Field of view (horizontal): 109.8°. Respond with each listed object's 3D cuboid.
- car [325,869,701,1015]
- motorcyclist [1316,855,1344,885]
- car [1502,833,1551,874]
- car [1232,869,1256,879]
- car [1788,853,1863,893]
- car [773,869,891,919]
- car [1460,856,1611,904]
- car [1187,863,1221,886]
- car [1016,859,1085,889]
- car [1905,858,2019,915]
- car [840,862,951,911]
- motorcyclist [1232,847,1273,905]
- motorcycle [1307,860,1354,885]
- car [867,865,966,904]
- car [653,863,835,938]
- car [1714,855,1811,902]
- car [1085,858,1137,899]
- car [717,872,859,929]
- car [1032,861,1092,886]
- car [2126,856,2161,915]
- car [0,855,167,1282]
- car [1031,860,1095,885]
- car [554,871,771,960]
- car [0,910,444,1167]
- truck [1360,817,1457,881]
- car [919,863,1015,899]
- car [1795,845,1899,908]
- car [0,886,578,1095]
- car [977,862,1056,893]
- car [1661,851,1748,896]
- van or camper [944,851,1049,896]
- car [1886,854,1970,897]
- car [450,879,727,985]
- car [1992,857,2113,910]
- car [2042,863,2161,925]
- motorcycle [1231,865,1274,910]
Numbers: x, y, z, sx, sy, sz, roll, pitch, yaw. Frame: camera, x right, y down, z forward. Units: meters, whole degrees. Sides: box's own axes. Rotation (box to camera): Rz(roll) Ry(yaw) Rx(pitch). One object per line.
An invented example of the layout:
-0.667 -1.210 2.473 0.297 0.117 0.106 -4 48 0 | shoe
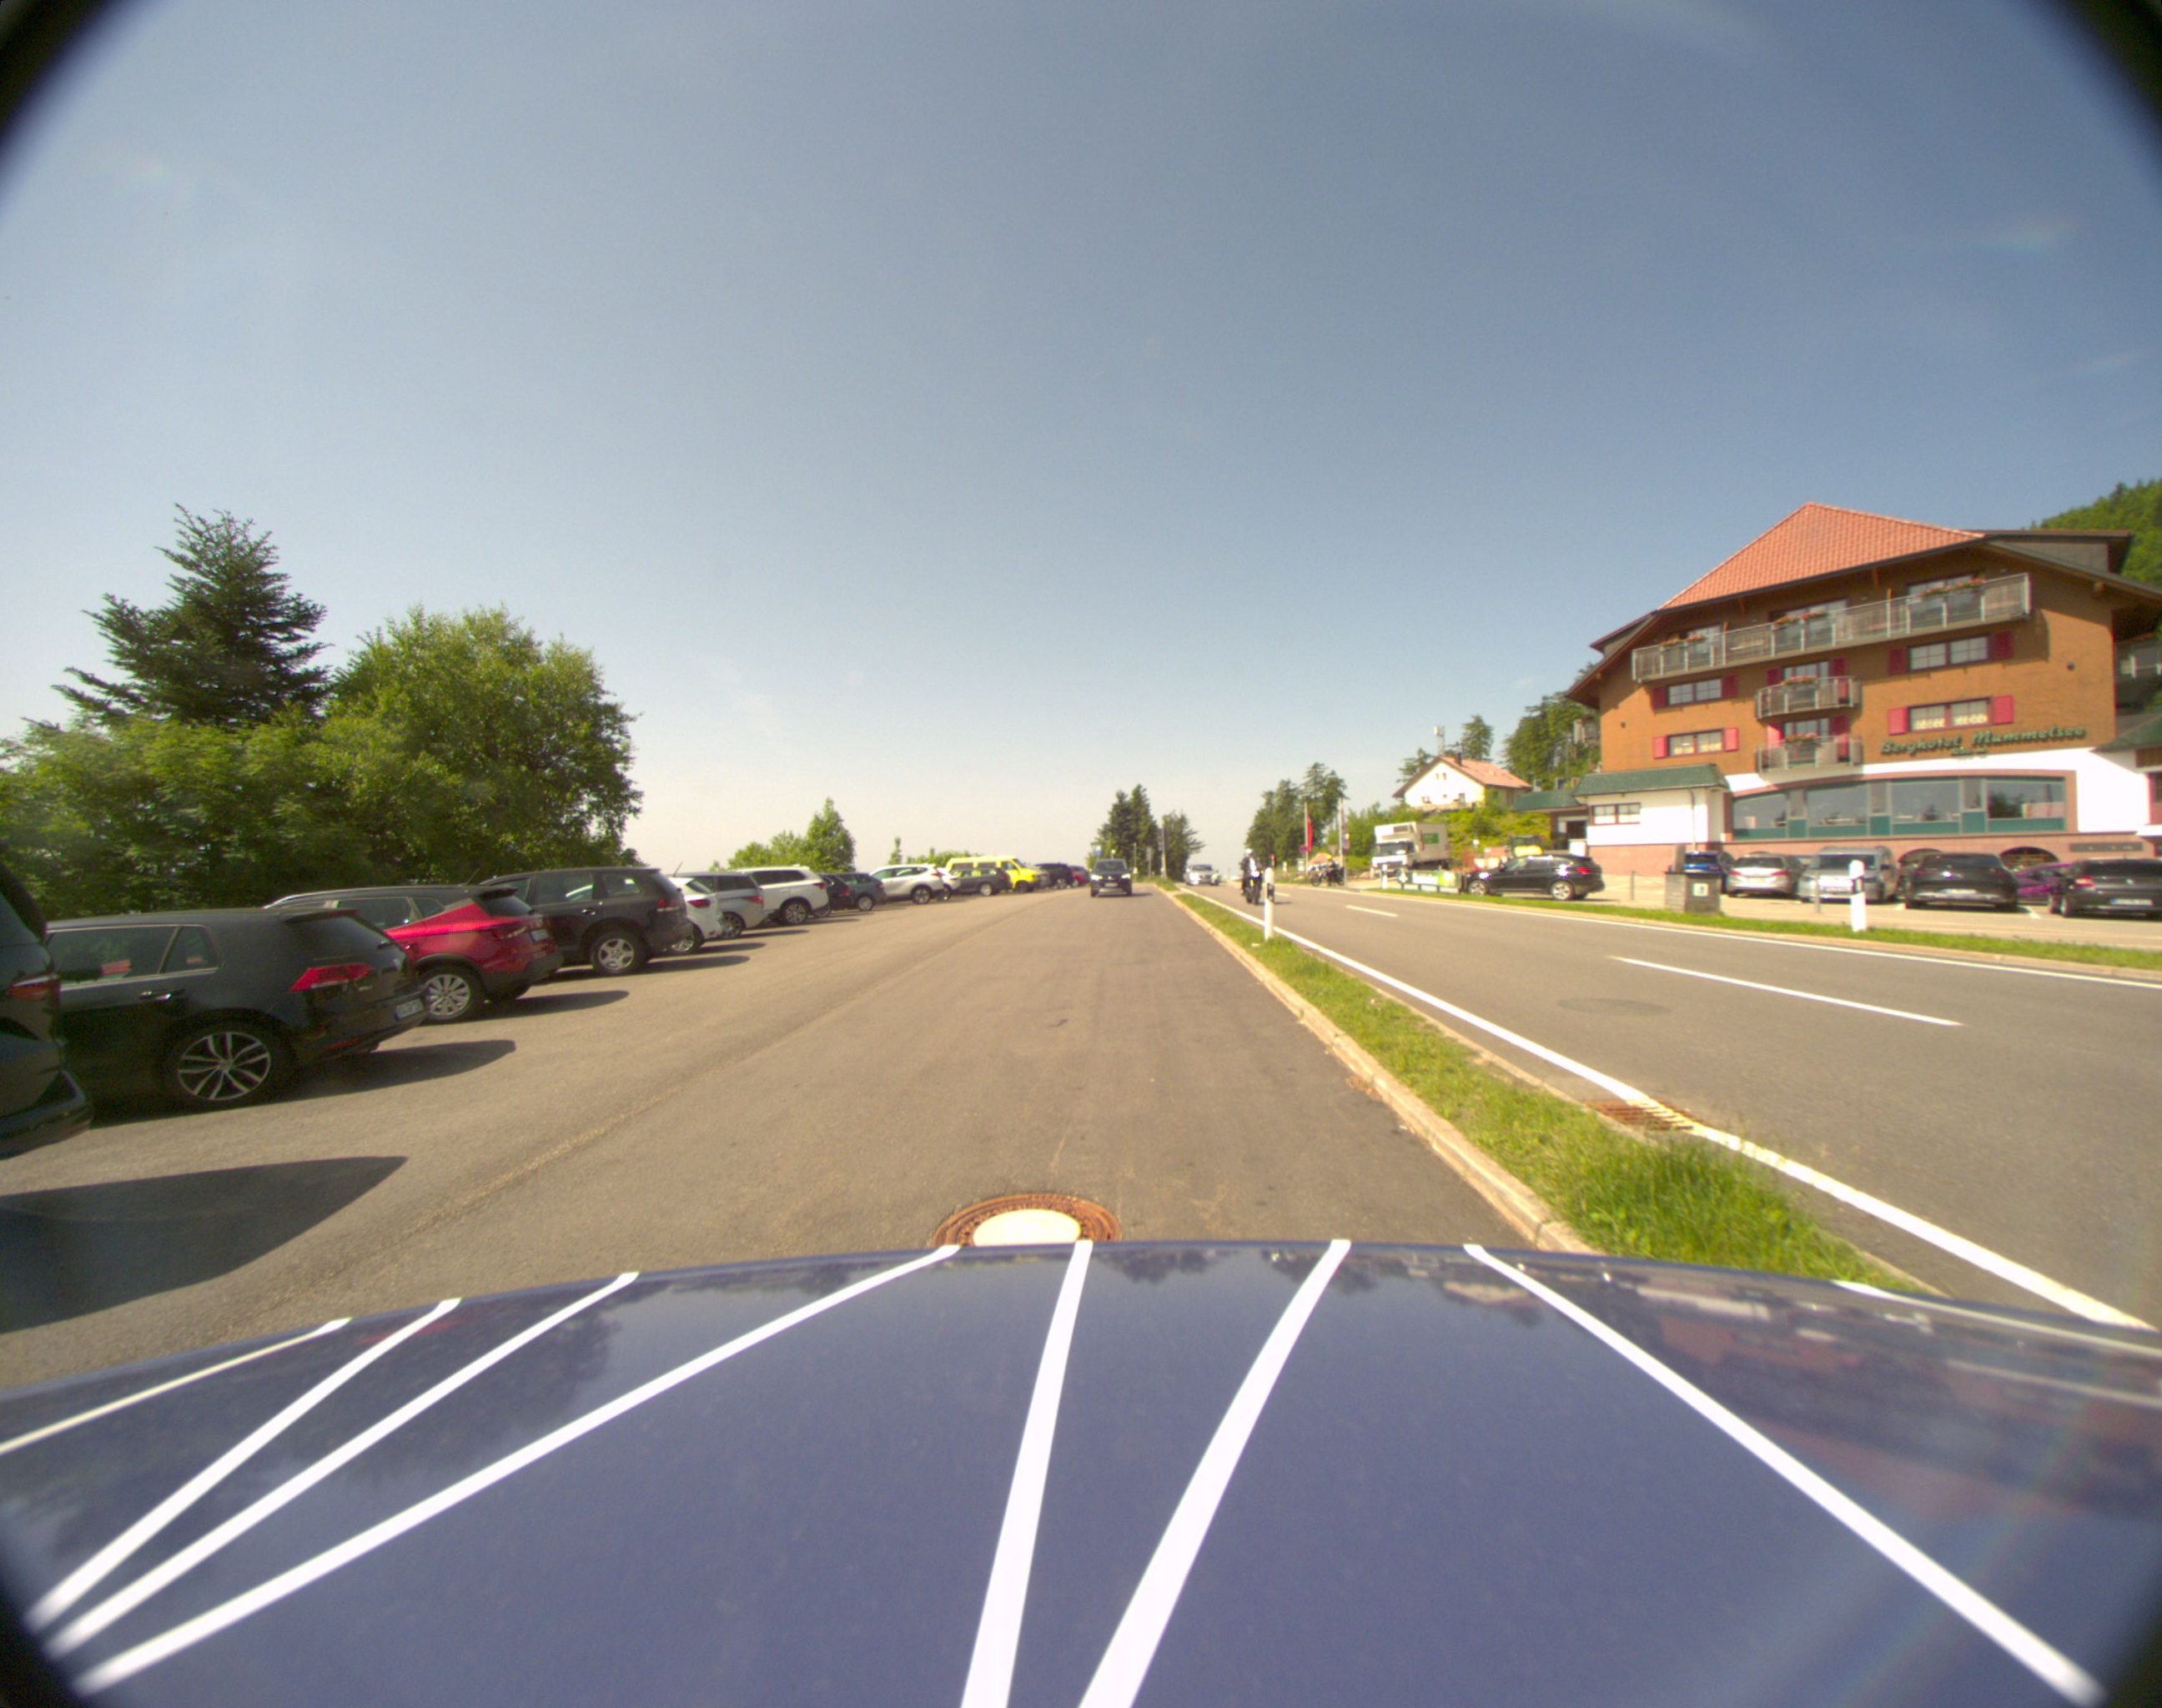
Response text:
-8.500 1.225 11.942 4.277 1.685 1.987 -4 0 -22 | car
14.779 0.955 45.169 1.248 1.710 1.064 -1 1 -6 | motorcyclist
27.945 0.028 47.793 1.995 2.481 4.007 0 -1 21 | car
34.236 4.119 159.658 4.726 1.870 1.934 2 -1 7 | car
29.081 0.730 29.644 4.009 1.474 1.930 1 -1 -43 | car
-8.885 1.407 27.258 3.809 1.450 1.660 -3 0 -18 | car
15.789 0.880 26.572 1.811 1.531 4.181 1 -1 -41 | car
7.891 1.300 49.018 1.780 1.448 4.002 0 -1 4 | car
-1.795 1.198 45.413 3.997 1.604 1.917 -2 -1 -1 | car
24.123 0.856 20.866 4.009 1.422 1.909 1 -1 -41 | car
-7.536 1.288 30.937 4.187 1.640 1.889 -4 0 -15 | car
5.330 0.658 23.712 0.925 1.708 1.452 -2 1 2 | motorcyclist
14.799 1.112 45.155 2.444 1.398 1.005 -1 0 -6 | motorcycle
-7.240 1.345 33.868 4.099 1.491 1.942 -2 0 -8 | car
-9.151 1.199 20.739 4.233 1.684 1.859 -3 0 -33 | car
24.476 0.854 27.243 4.008 1.536 1.995 1 -1 -39 | car
1.341 1.022 32.733 1.984 1.607 4.152 -1 -1 5 | car
-9.428 1.438 24.523 4.056 1.452 1.891 -4 0 -24 | car
-1.328 1.335 51.955 3.999 1.500 1.842 -2 -2 -5 | car
29.297 0.811 19.803 4.009 1.474 1.930 1 -1 -43 | car
-7.036 1.076 2.524 4.775 1.869 1.964 -4 0 -15 | car
-1.294 1.363 54.549 4.408 1.559 1.908 -3 -1 -2 | car
-9.307 1.303 17.152 4.005 1.540 1.817 -4 0 -29 | car
-7.451 1.313 5.472 4.004 1.406 1.741 -4 0 -26 | car
22.707 -0.433 52.358 3.062 3.948 8.788 -4 -1 44 | truck
-5.548 1.318 37.349 4.361 1.478 1.813 -4 -1 0 | car
24.500 0.707 24.260 4.540 1.852 1.830 1 -1 -38 | car
-8.263 1.310 8.508 4.003 1.580 1.860 -4 0 -22 | car
-3.615 1.312 43.059 4.159 1.579 1.706 -2 -1 8 | car
25.007 0.740 30.423 4.554 1.654 1.934 0 0 -41 | car
-4.411 1.049 40.182 5.100 2.001 1.884 -4 -1 9 | van or camper
30.700 0.760 27.636 4.009 1.474 1.930 1 -1 -43 | car
-8.982 1.363 14.297 4.003 1.467 1.765 -4 1 -21 | car
29.582 0.855 23.257 4.009 1.474 1.930 1 -1 -43 | car
24.153 0.892 17.908 3.647 1.313 1.583 1 -1 -43 | car
5.337 1.016 23.820 0.878 1.249 2.277 -2 0 2 | motorcycle
